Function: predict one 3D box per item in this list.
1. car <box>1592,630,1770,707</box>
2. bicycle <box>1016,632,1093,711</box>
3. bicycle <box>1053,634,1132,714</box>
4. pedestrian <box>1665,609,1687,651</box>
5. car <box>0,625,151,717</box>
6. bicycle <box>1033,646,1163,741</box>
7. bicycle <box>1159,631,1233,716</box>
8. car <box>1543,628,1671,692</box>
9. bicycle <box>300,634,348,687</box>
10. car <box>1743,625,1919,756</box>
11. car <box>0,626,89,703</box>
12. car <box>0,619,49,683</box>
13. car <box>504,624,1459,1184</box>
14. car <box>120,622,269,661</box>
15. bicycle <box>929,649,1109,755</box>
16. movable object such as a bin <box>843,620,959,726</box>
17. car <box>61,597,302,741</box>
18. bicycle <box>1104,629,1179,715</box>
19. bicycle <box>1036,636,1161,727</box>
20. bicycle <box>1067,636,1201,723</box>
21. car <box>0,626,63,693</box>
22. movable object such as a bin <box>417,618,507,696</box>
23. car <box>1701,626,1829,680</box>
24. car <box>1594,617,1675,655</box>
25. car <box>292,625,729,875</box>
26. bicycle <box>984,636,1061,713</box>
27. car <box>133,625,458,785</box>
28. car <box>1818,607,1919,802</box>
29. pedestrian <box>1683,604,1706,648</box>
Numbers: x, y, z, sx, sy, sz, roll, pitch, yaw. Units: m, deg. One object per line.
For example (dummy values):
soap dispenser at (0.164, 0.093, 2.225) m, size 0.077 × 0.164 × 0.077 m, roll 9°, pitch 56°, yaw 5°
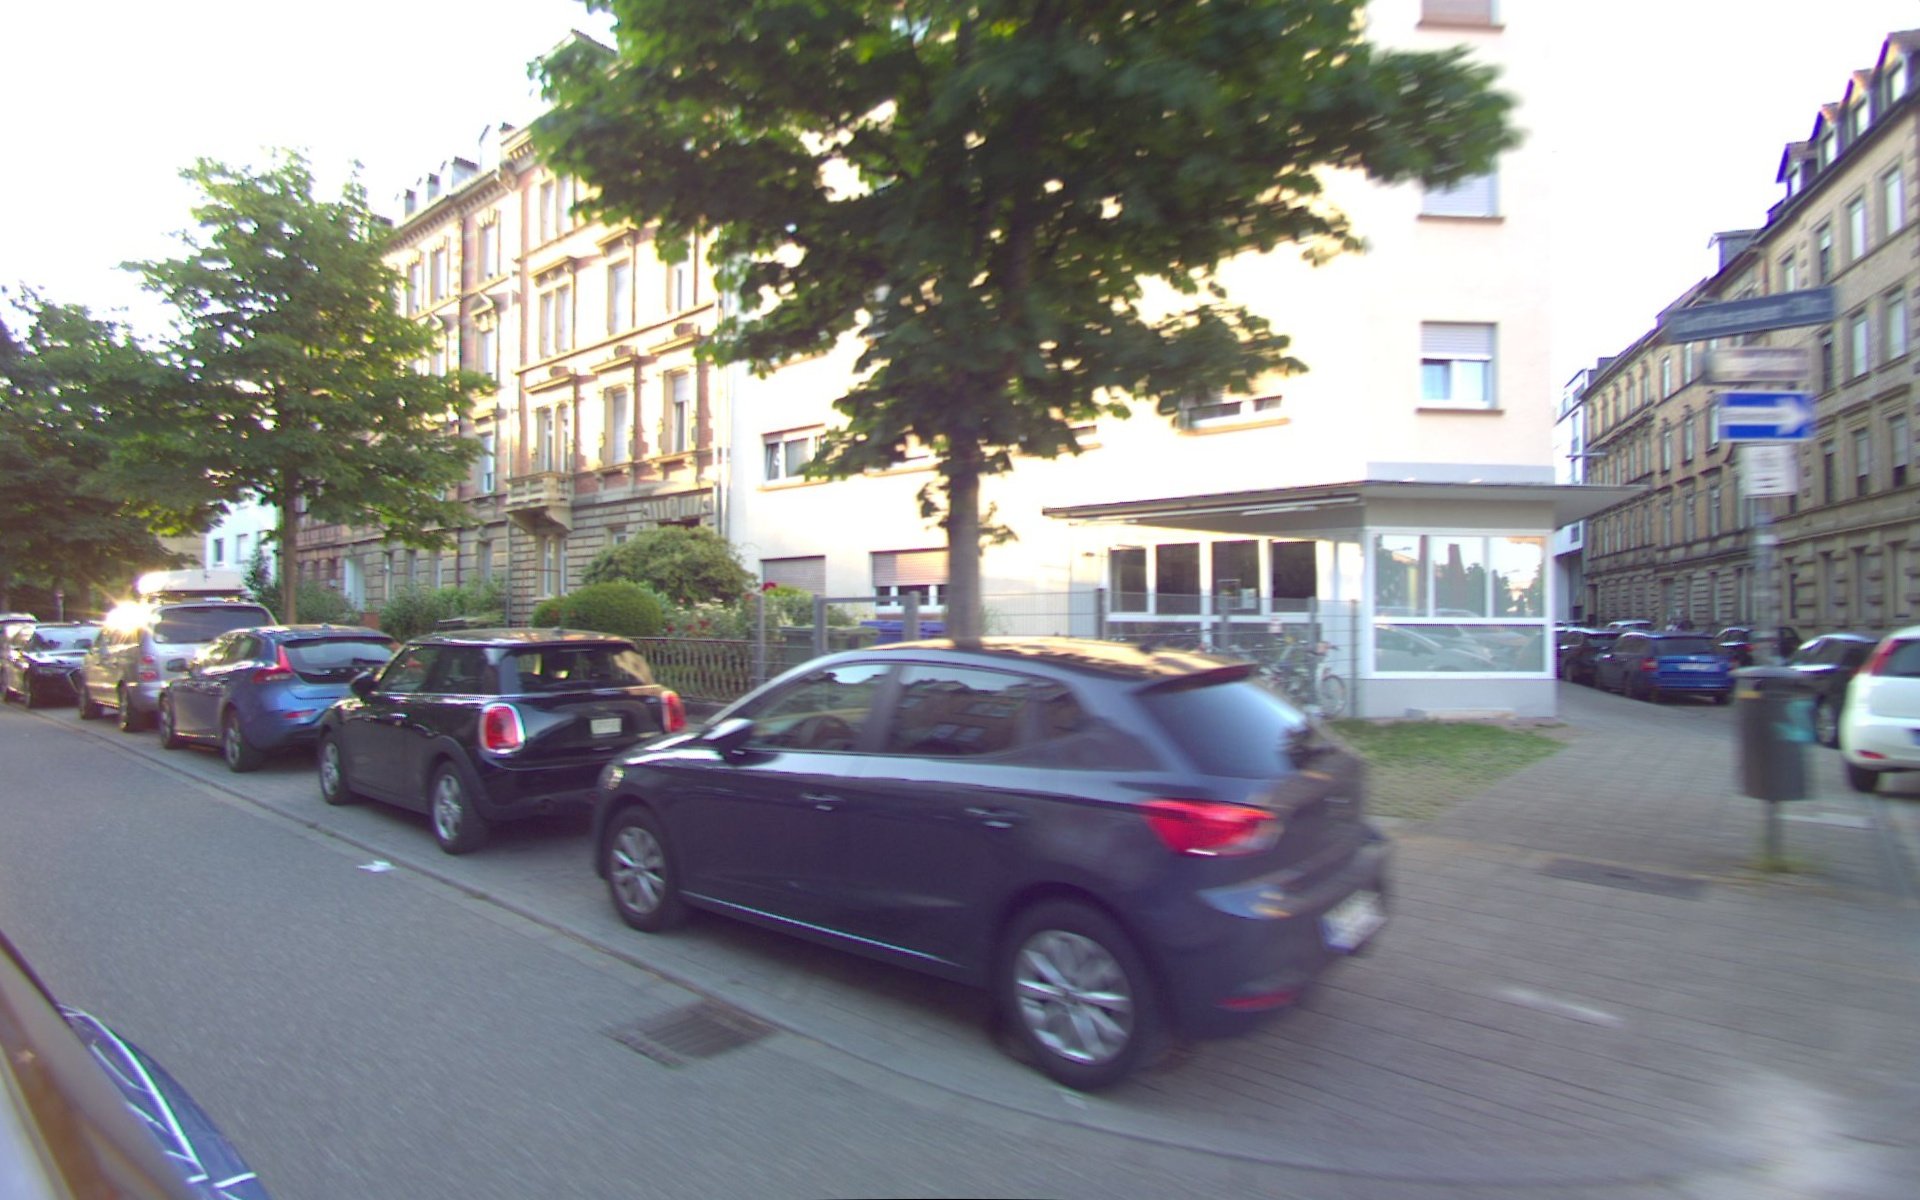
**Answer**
car at (14.717, 1.352, 20.937) m, size 1.860 × 1.419 × 3.975 m, roll -1°, pitch -2°, yaw 19°
bicycle at (1.488, 1.081, 15.731) m, size 0.499 × 1.100 × 1.531 m, roll -1°, pitch 0°, yaw 34°
bicycle at (2.035, 1.095, 15.413) m, size 0.499 × 1.100 × 1.617 m, roll -1°, pitch 0°, yaw 34°
pedestrian at (29.508, 1.219, 41.702) m, size 0.590 × 1.699 × 0.495 m, roll -1°, pitch 0°, yaw 19°
car at (-16.387, 1.211, 18.501) m, size 4.020 × 1.452 × 1.711 m, roll -1°, pitch -1°, yaw 39°
bicycle at (1.674, 1.143, 12.440) m, size 1.528 × 1.100 × 0.500 m, roll -1°, pitch 0°, yaw 4°
bicycle at (3.398, 1.021, 14.516) m, size 0.499 × 1.100 × 1.531 m, roll -1°, pitch 0°, yaw 34°
car at (16.269, 1.451, 25.667) m, size 1.773 × 1.478 × 3.975 m, roll -1°, pitch -2°, yaw 19°
bicycle at (-14.169, 1.334, 22.518) m, size 1.633 × 1.118 × 0.451 m, roll -1°, pitch 0°, yaw 42°
car at (11.859, 1.048, 12.921) m, size 1.986 × 1.450 × 4.046 m, roll -1°, pitch -2°, yaw 24°
car at (-19.914, 1.317, 21.628) m, size 3.295 × 1.505 × 1.423 m, roll -1°, pitch -1°, yaw 39°
car at (-26.844, 1.382, 28.135) m, size 4.020 × 1.675 × 1.842 m, roll -1°, pitch -1°, yaw 42°
car at (-0.262, 0.864, 4.794) m, size 4.459 × 1.473 × 1.658 m, roll -1°, pitch -1°, yaw 39°
car at (-29.512, 1.569, 39.118) m, size 1.625 × 1.351 × 4.355 m, roll -1°, pitch -1°, yaw 41°
bicycle at (0.632, 1.094, 11.284) m, size 1.928 × 1.033 × 0.681 m, roll -1°, pitch 0°, yaw 35°
movable object such as a bin at (-0.822, 0.966, 13.953) m, size 1.398 × 1.362 × 0.857 m, roll -1°, pitch 0°, yaw 43°
car at (-11.413, 0.886, 14.726) m, size 4.619 × 1.792 × 1.843 m, roll -1°, pitch -1°, yaw 40°
bicycle at (2.693, 1.034, 14.914) m, size 0.499 × 1.150 × 1.531 m, roll -1°, pitch 0°, yaw 34°
bicycle at (1.752, 1.033, 12.955) m, size 1.528 × 1.100 × 0.500 m, roll -1°, pitch 0°, yaw 4°
bicycle at (2.277, 1.041, 13.368) m, size 1.689 × 1.100 × 0.384 m, roll -1°, pitch 0°, yaw 5°
car at (-23.051, 1.401, 24.499) m, size 3.625 × 1.510 × 1.660 m, roll -1°, pitch -1°, yaw 43°
movable object such as a bin at (-9.501, 1.059, 19.307) m, size 1.549 × 1.398 × 0.937 m, roll -1°, pitch 0°, yaw 38°
car at (23.868, 1.529, 30.178) m, size 1.774 × 1.470 × 3.973 m, roll -1°, pitch -2°, yaw 20°
car at (28.715, 1.523, 43.198) m, size 1.875 × 1.569 × 3.974 m, roll -1°, pitch -2°, yaw 19°
car at (-3.751, 0.940, 8.053) m, size 4.143 × 1.431 × 1.723 m, roll -1°, pitch -1°, yaw 43°
bicycle at (1.012, 1.147, 16.061) m, size 0.499 × 1.100 × 1.531 m, roll -1°, pitch 0°, yaw 34°
car at (-7.633, 1.014, 11.442) m, size 4.587 × 1.423 × 1.843 m, roll -1°, pitch -1°, yaw 40°
car at (9.612, 0.853, 9.151) m, size 4.006 × 1.520 × 1.978 m, roll -1°, pitch 0°, yaw -37°
pedestrian at (30.093, 1.060, 41.466) m, size 0.590 × 1.820 × 0.495 m, roll -1°, pitch 0°, yaw 19°
